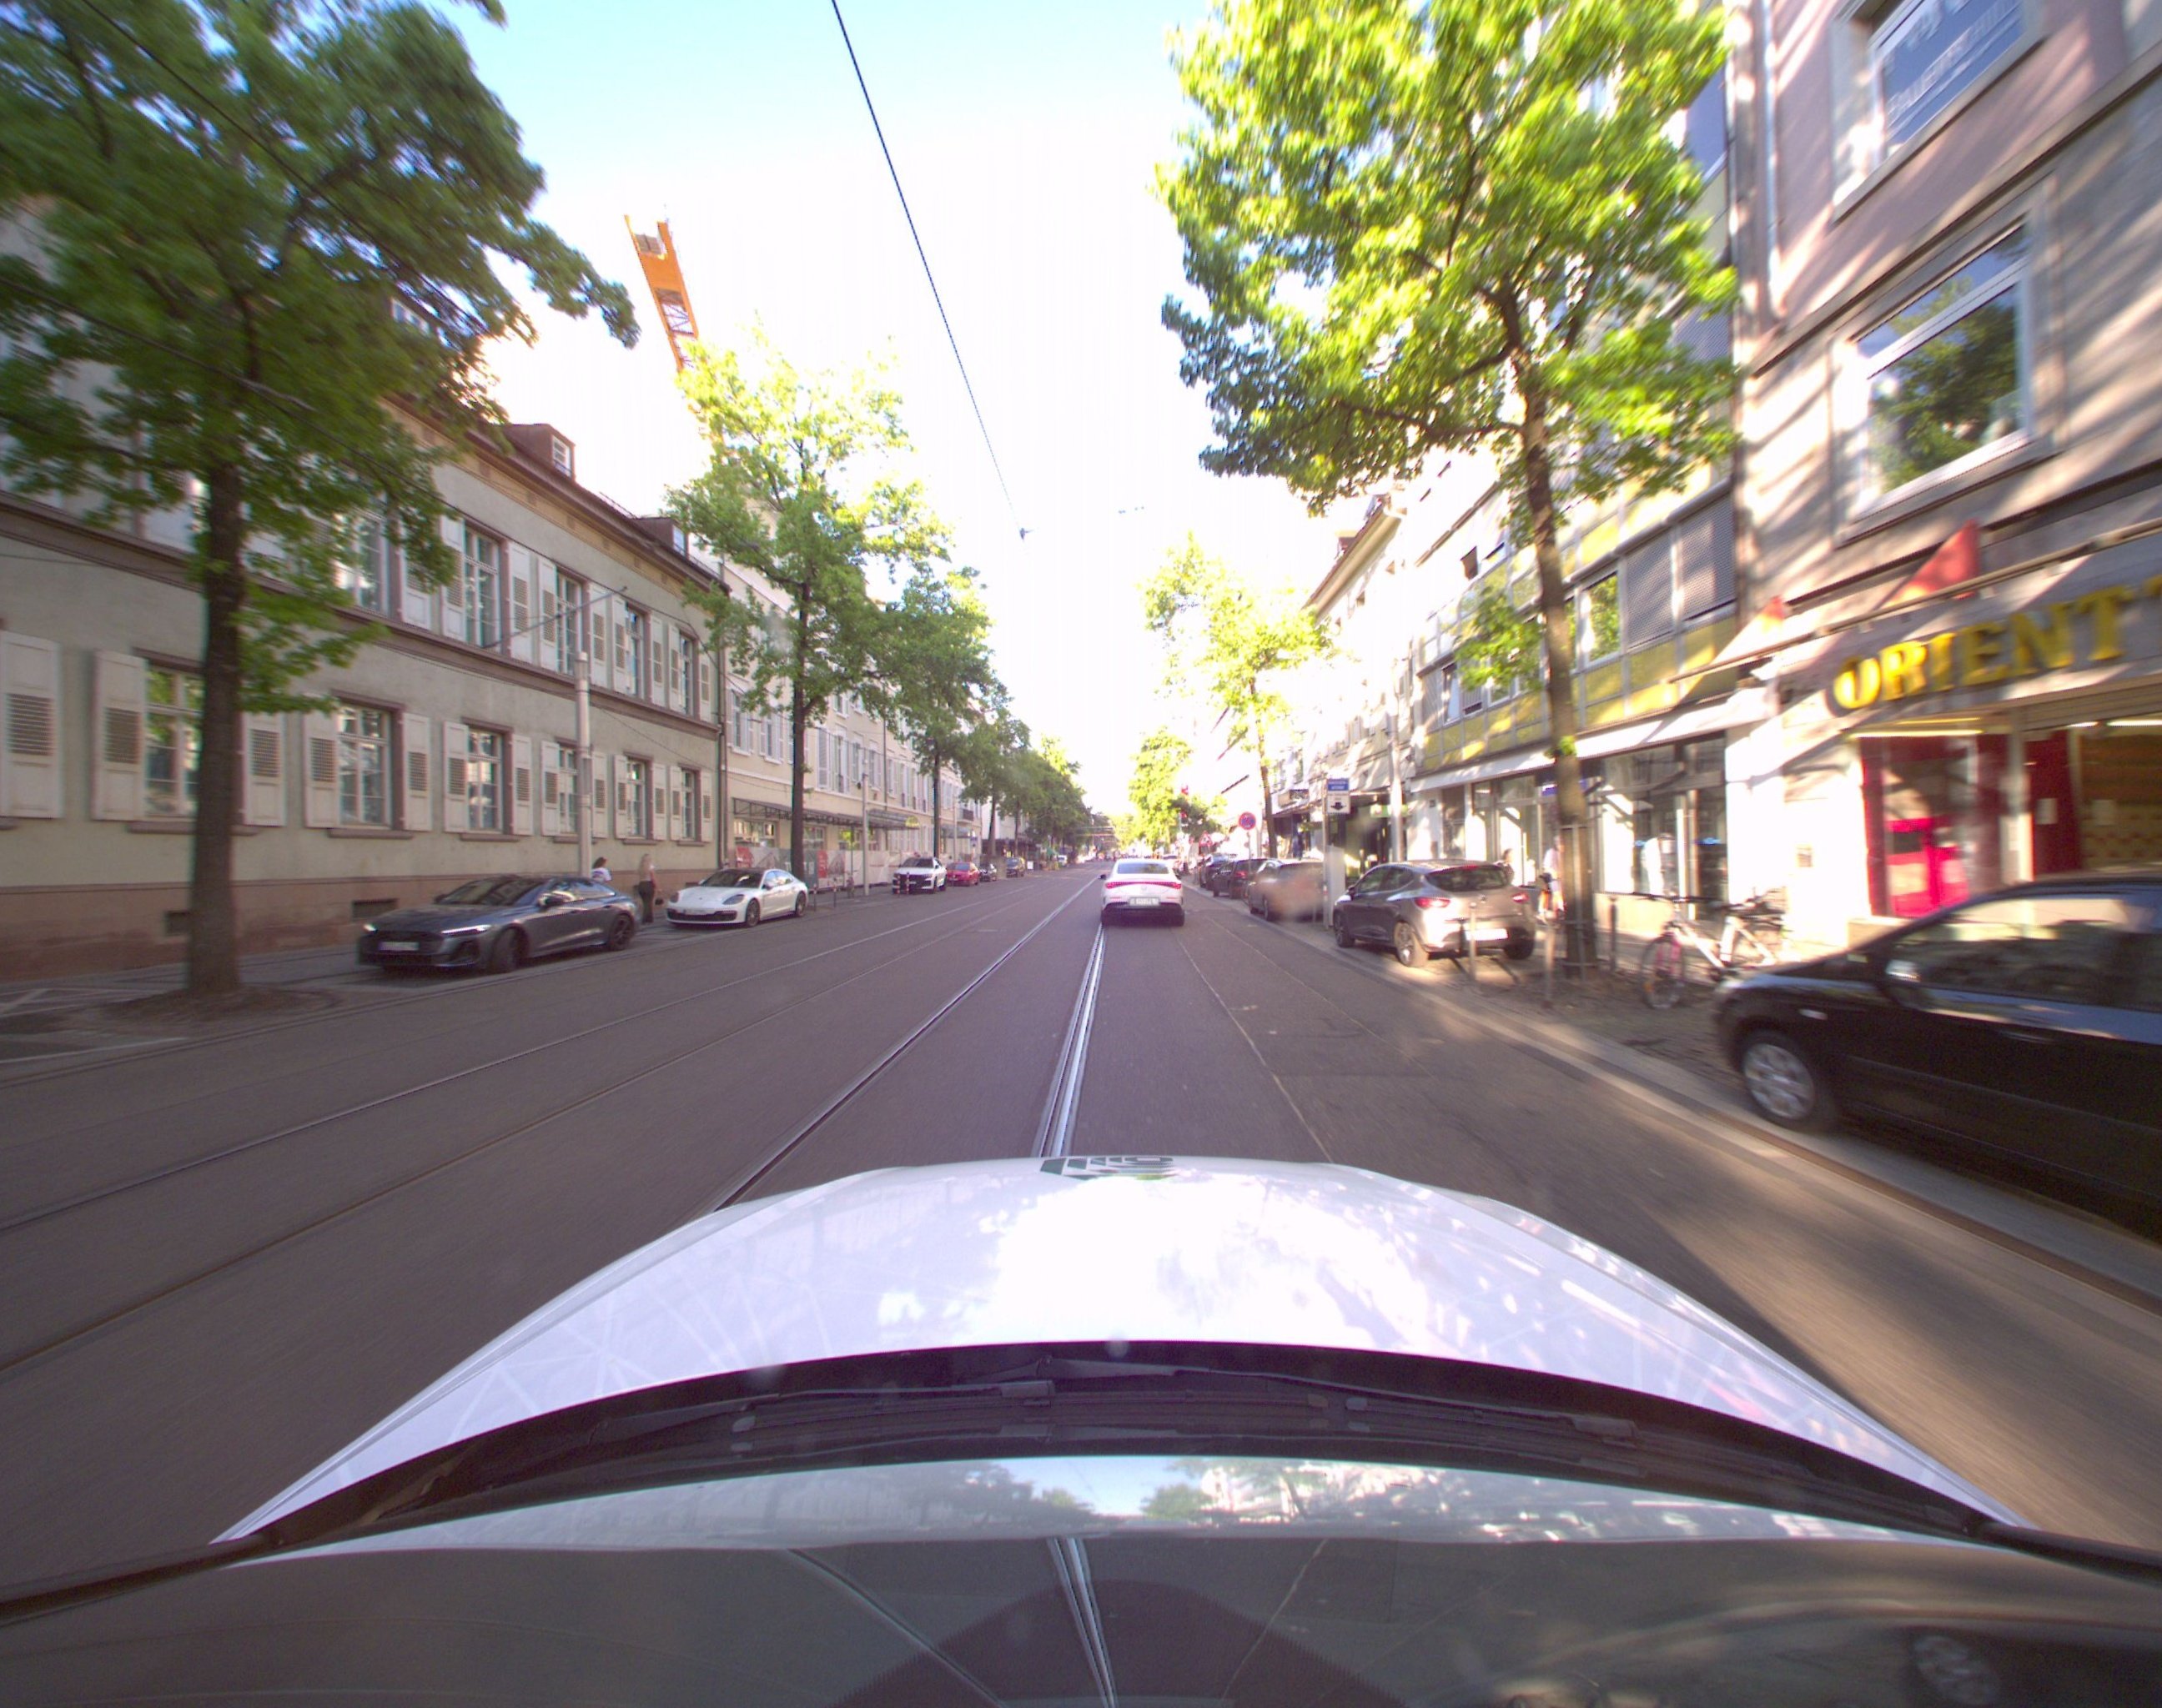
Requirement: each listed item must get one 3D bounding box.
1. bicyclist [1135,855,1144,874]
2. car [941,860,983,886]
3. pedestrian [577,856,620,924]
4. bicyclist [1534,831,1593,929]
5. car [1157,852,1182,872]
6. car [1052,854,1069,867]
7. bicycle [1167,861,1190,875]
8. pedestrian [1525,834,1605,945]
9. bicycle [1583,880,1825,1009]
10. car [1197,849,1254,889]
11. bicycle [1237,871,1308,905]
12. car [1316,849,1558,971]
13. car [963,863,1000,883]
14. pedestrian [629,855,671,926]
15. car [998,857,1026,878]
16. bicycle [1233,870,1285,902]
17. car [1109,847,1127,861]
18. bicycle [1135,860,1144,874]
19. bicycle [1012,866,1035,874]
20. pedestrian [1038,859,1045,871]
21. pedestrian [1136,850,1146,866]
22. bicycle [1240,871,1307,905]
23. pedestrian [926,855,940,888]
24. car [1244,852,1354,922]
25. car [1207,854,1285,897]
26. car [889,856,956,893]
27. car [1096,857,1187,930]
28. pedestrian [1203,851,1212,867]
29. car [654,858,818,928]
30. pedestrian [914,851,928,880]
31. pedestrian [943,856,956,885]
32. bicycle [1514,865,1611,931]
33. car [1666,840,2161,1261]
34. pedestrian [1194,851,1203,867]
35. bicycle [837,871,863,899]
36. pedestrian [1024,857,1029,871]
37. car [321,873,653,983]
[{"bbox_3d":[5.324,0.916,73.939,0.721,1.703,0.812,-1,-1,3],"label":"bicyclist"},{"bbox_3d":[-7.214,1.129,49.761,1.681,1.499,4.238,-1,-1,4],"label":"car"},{"bbox_3d":[-12.191,0.892,20.596,0.672,1.680,0.648,-1,-1,2],"label":"pedestrian"},{"bbox_3d":[8.582,0.452,14.512,0.636,1.684,0.600,-2,-1,1],"label":"bicyclist"},{"bbox_3d":[8.090,0.687,74.812,1.985,1.728,4.244,-1,0,3],"label":"car"},{"bbox_3d":[-3.331,1.026,133.984,1.981,2.013,4.012,-1,0,11],"label":"car"},{"bbox_3d":[7.639,1.078,63.813,1.714,1.062,0.581,-1,0,5],"label":"bicycle"},{"bbox_3d":[7.442,0.526,12.556,0.794,1.646,0.700,-1,0,1],"label":"pedestrian"},{"bbox_3d":[5.922,0.825,7.783,1.854,1.074,0.710,-2,0,-7],"label":"bicycle"},{"bbox_3d":[6.682,0.649,38.055,1.985,1.713,4.869,-1,0,2],"label":"car"},{"bbox_3d":[5.714,1.015,24.325,2.026,0.964,0.282,-1,-1,7],"label":"bicycle"},{"bbox_3d":[5.212,0.739,12.584,1.810,1.486,3.996,-3,0,-2],"label":"car"},{"bbox_3d":[-7.111,1.334,58.482,1.985,1.292,4.002,-1,0,2],"label":"car"},{"bbox_3d":[-10.676,0.894,20.182,0.683,1.721,0.656,0,-1,3],"label":"pedestrian"},{"bbox_3d":[-6.049,1.143,71.508,1.543,1.796,3.177,-1,0,11],"label":"car"},{"bbox_3d":[5.613,1.005,25.744,1.530,0.964,0.497,-1,-1,6],"label":"bicycle"},{"bbox_3d":[8.933,0.091,196.351,4.023,3.114,8.436,-1,-1,2],"label":"car"},{"bbox_3d":[5.328,1.168,73.942,0.737,1.188,2.162,-1,-1,4],"label":"bicycle"},{"bbox_3d":[-5.751,1.597,81.335,2.232,0.830,0.721,-1,0,25],"label":"bicycle"},{"bbox_3d":[-4.959,1.378,102.551,0.519,1.478,0.645,-3,-1,-25],"label":"pedestrian"},{"bbox_3d":[6.979,0.480,94.702,0.920,1.774,0.870,-1,0,-12],"label":"pedestrian"},{"bbox_3d":[5.658,1.010,23.988,1.886,0.964,0.333,-1,-1,7],"label":"bicycle"},{"bbox_3d":[-9.316,1.100,51.219,0.705,2.004,0.675,-1,0,-1],"label":"pedestrian"},{"bbox_3d":[5.294,0.744,20.296,1.862,1.453,4.111,-3,0,5],"label":"car"},{"bbox_3d":[6.019,0.754,30.197,1.833,1.436,3.995,-1,0,-4],"label":"car"},{"bbox_3d":[-7.660,0.973,39.879,1.953,1.692,5.018,-1,-1,4],"label":"car"},{"bbox_3d":[1.425,0.832,18.863,1.859,1.469,4.048,-1,0,5],"label":"car"},{"bbox_3d":[13.778,0.523,88.492,0.799,1.774,0.680,-1,0,-10],"label":"pedestrian"},{"bbox_3d":[-8.861,0.939,21.512,1.938,1.640,4.914,0,0,4],"label":"car"},{"bbox_3d":[-10.122,0.748,51.529,0.705,1.806,0.675,-1,0,-3],"label":"pedestrian"},{"bbox_3d":[-9.179,1.121,56.840,0.705,2.004,0.675,-1,0,-1],"label":"pedestrian"},{"bbox_3d":[8.604,0.746,14.651,0.645,1.074,1.862,-2,0,1],"label":"bicycle"},{"bbox_3d":[4.735,0.690,3.489,1.794,1.458,3.654,-3,-1,0],"label":"car"},{"bbox_3d":[12.820,0.552,88.839,0.799,1.774,0.680,-1,0,-10],"label":"pedestrian"},{"bbox_3d":[-9.484,1.252,33.510,0.592,1.050,2.005,-1,0,-4],"label":"bicycle"},{"bbox_3d":[-6.927,1.269,103.451,0.515,1.653,0.650,-1,0,2],"label":"pedestrian"},{"bbox_3d":[-9.397,1.063,13.565,1.955,1.412,4.845,-1,-1,0],"label":"car"}]
